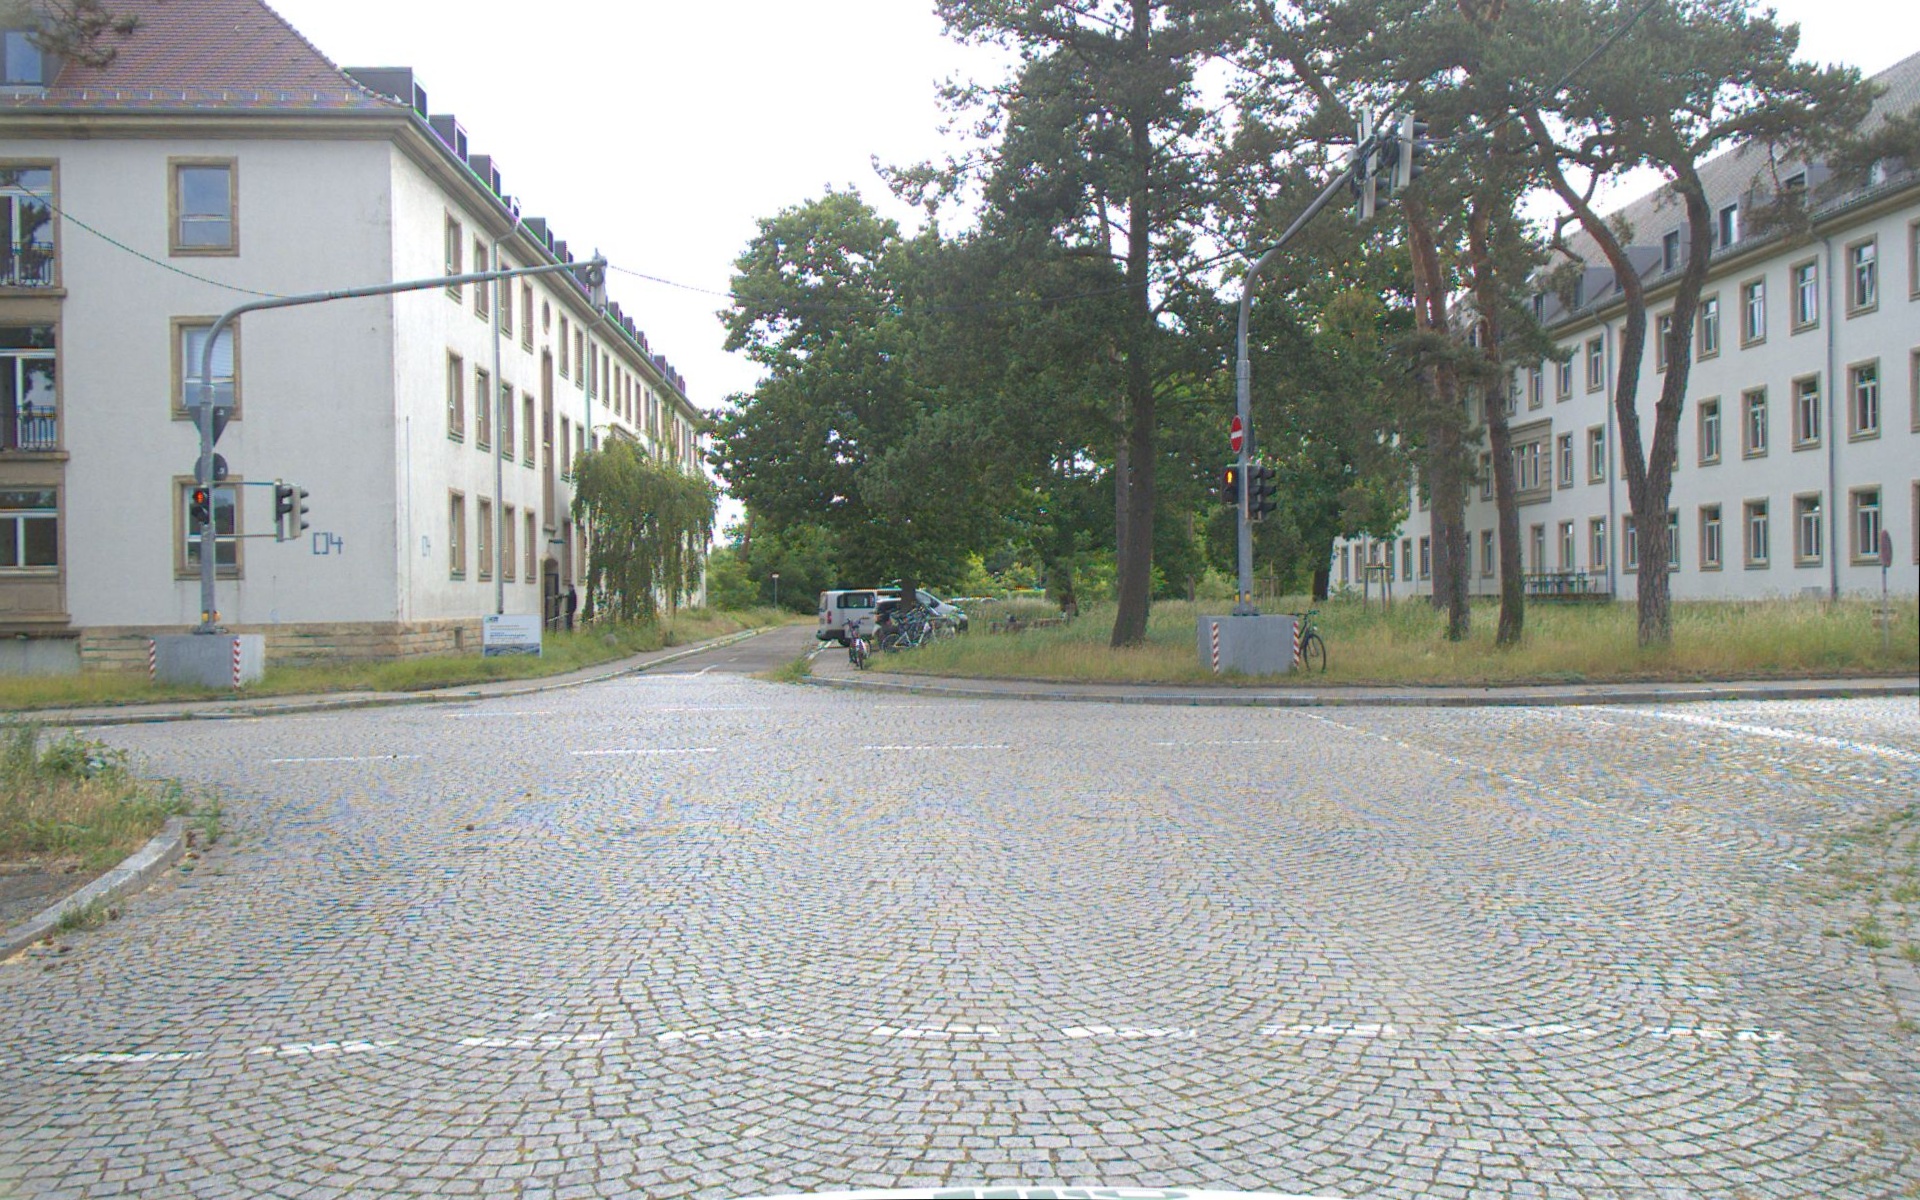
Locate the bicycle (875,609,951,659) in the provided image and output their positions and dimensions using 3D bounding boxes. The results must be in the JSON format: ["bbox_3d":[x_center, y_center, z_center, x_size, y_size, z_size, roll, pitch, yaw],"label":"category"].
[{"bbox_3d":[-1.223,0.883,43.087,1.943,1.269,0.623,0,-1,-5],"label":"bicycle"}]

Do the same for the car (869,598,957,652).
[{"bbox_3d":[-1.543,0.799,53.689,2.791,1.585,1.471,-2,1,-4],"label":"car"}]

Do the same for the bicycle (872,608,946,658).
[{"bbox_3d":[-1.404,0.900,45.381,1.944,1.269,0.623,-3,0,-5],"label":"bicycle"}]

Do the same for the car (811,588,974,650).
[{"bbox_3d":[-2.349,0.642,57.124,5.222,1.949,2.139,-2,0,-18],"label":"car"}]

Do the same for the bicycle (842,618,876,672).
[{"bbox_3d":[-2.172,0.958,35.634,0.609,1.133,1.989,0,-1,0],"label":"bicycle"}]

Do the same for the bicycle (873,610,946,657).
[{"bbox_3d":[-1.362,0.895,44.723,1.943,1.269,0.623,0,-1,-5],"label":"bicycle"}]

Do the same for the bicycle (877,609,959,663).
[{"bbox_3d":[-1.004,0.857,39.709,1.943,1.269,0.623,0,-1,-5],"label":"bicycle"}]

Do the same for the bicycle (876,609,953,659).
[{"bbox_3d":[-1.179,0.879,42.646,1.943,1.269,0.623,0,-1,-5],"label":"bicycle"}]

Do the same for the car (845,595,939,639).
[{"bbox_3d":[-2.946,0.721,70.992,3.952,1.748,1.679,-1,-1,-5],"label":"car"}]

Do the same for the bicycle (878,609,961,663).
[{"bbox_3d":[-0.965,0.852,39.081,1.943,1.269,0.623,0,-1,-5],"label":"bicycle"}]

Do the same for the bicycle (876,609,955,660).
[{"bbox_3d":[-1.128,0.871,41.489,1.943,1.269,0.623,0,-1,-5],"label":"bicycle"}]

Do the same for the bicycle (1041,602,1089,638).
[{"bbox_3d":[3.443,0.661,54.135,1.518,1.144,0.401,-1,0,-2],"label":"bicycle"}]

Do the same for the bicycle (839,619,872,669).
[{"bbox_3d":[-2.358,0.989,37.580,0.609,1.101,1.678,0,-1,1],"label":"bicycle"}]

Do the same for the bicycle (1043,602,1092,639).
[{"bbox_3d":[3.443,0.655,52.903,1.518,1.144,0.401,-1,0,-2],"label":"bicycle"}]

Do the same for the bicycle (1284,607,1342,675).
[{"bbox_3d":[5.751,0.649,27.022,0.568,0.987,1.678,-3,2,1],"label":"bicycle"}]

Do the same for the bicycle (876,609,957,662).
[{"bbox_3d":[-1.075,0.864,40.632,1.943,1.269,0.623,0,-1,-5],"label":"bicycle"}]

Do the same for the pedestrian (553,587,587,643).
[{"bbox_3d":[-12.815,0.495,54.355,0.820,1.812,0.941,-1,0,2],"label":"pedestrian"}]

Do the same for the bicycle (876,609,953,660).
[{"bbox_3d":[-1.162,0.875,42.121,1.943,1.269,0.623,0,-1,-5],"label":"bicycle"}]

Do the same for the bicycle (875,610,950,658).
[{"bbox_3d":[-1.262,0.888,43.720,1.943,1.269,0.623,0,-1,-5],"label":"bicycle"}]

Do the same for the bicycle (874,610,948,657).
[{"bbox_3d":[-1.316,0.892,44.231,1.943,1.269,0.623,0,-1,-5],"label":"bicycle"}]
